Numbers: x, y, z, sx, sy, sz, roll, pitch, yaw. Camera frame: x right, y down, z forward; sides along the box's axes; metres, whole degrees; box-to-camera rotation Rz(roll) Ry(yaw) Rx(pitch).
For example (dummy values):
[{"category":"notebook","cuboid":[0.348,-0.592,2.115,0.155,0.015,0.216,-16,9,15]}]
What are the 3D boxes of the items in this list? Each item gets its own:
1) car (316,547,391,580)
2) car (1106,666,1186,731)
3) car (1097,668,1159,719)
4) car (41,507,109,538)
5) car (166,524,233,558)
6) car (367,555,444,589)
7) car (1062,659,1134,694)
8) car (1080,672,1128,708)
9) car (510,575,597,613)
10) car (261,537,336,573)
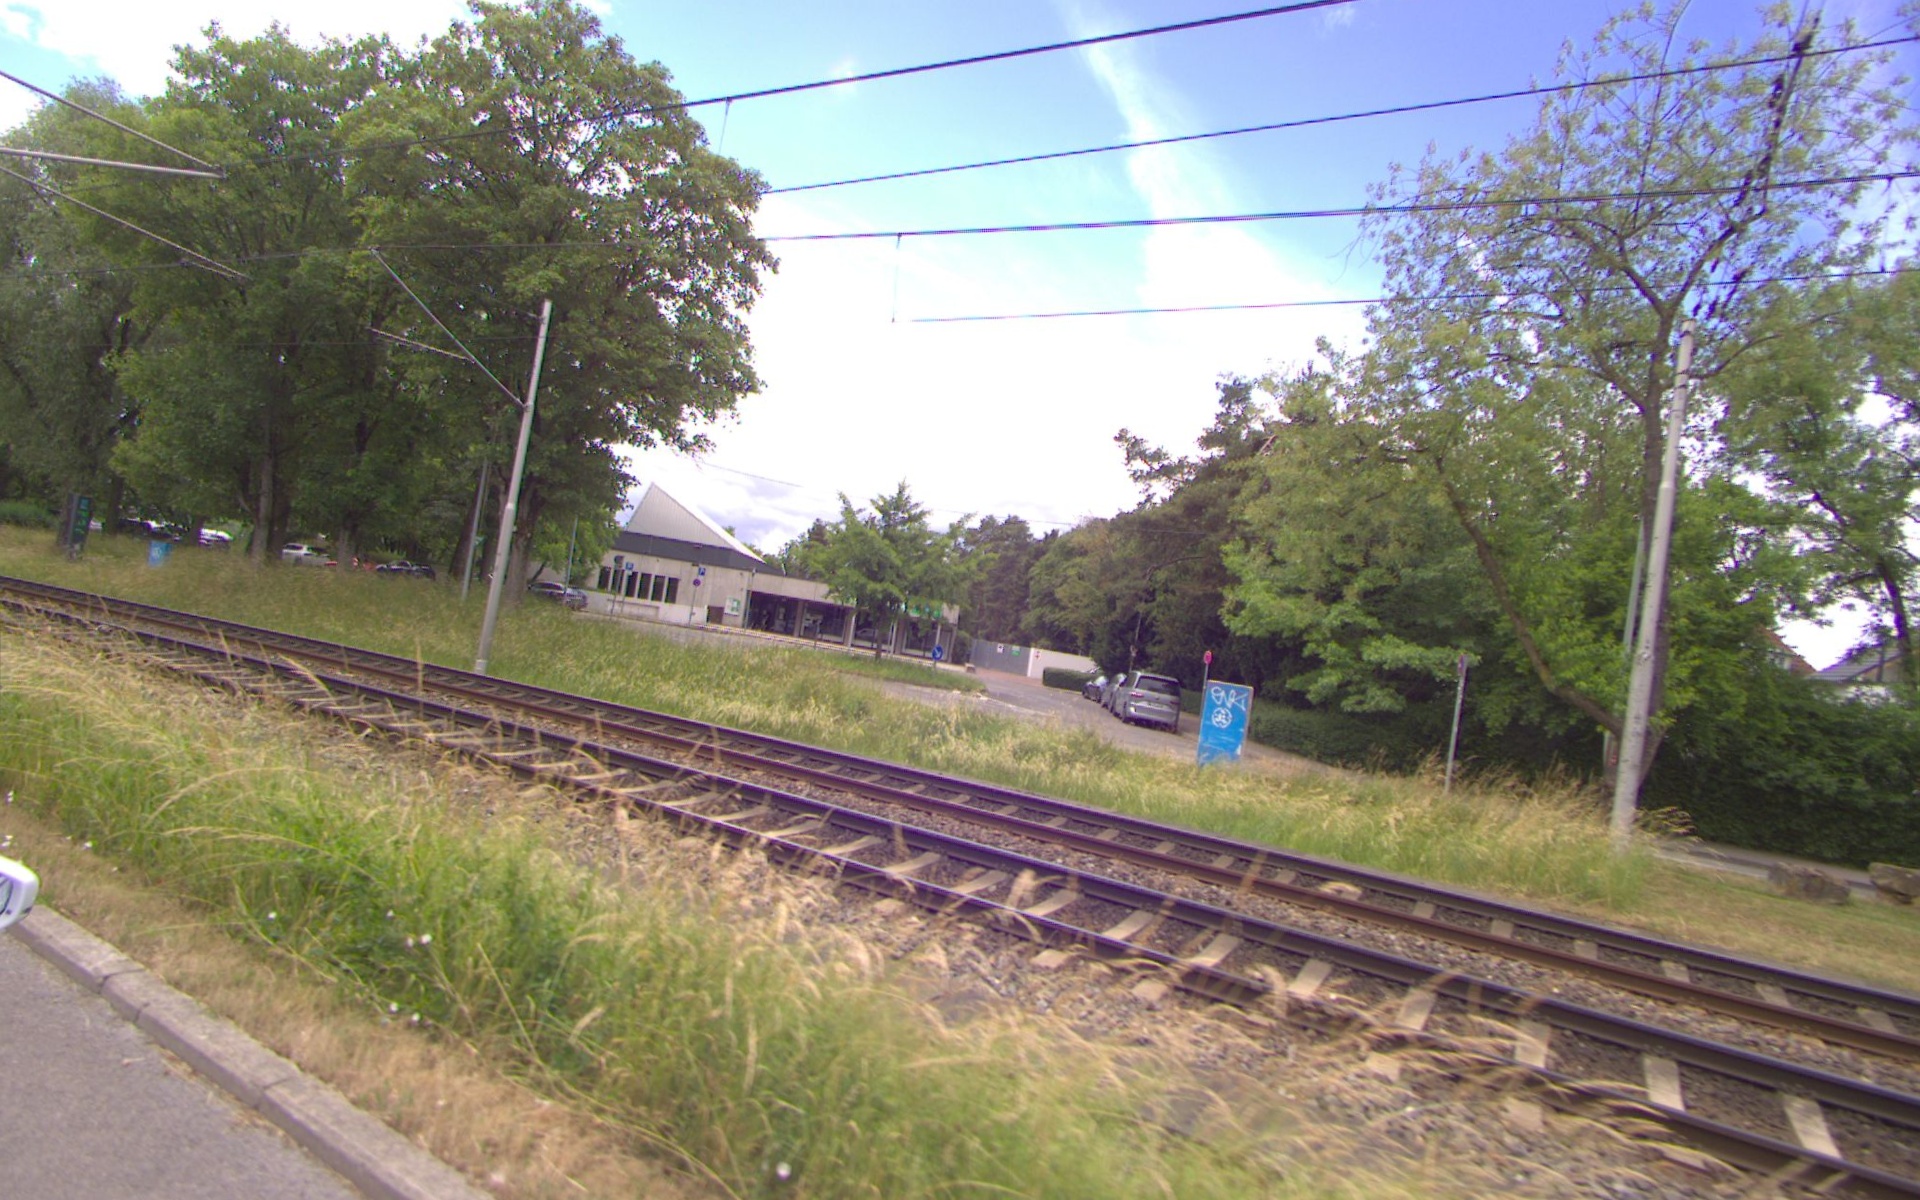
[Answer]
[{"category":"car","cuboid":[-38.236,-2.291,63.430,3.928,1.458,2.001,7,-3,24]},{"category":"car","cuboid":[6.733,3.537,36.859,1.882,1.881,4.718,8,-2,1]},{"category":"car","cuboid":[6.995,3.881,42.177,1.738,1.697,4.200,8,-2,1]},{"category":"car","cuboid":[-76.766,-6.690,87.296,3.928,1.832,2.001,8,-2,-1]},{"category":"car","cuboid":[-53.048,-4.113,70.204,3.929,1.718,2.001,7,-3,26]},{"category":"car","cuboid":[-33.791,-1.721,61.337,3.928,1.458,2.001,7,-3,24]},{"category":"car","cuboid":[8.875,4.910,64.810,4.379,1.599,1.982,8,-2,8]},{"category":"car","cuboid":[6.794,4.241,47.809,1.643,1.348,3.528,8,-2,1]},{"category":"car","cuboid":[-22.859,-0.344,56.524,4.268,1.458,2.001,7,-3,24]},{"category":"car","cuboid":[-43.252,-2.943,65.762,4.153,1.718,2.002,7,-3,25]}]
